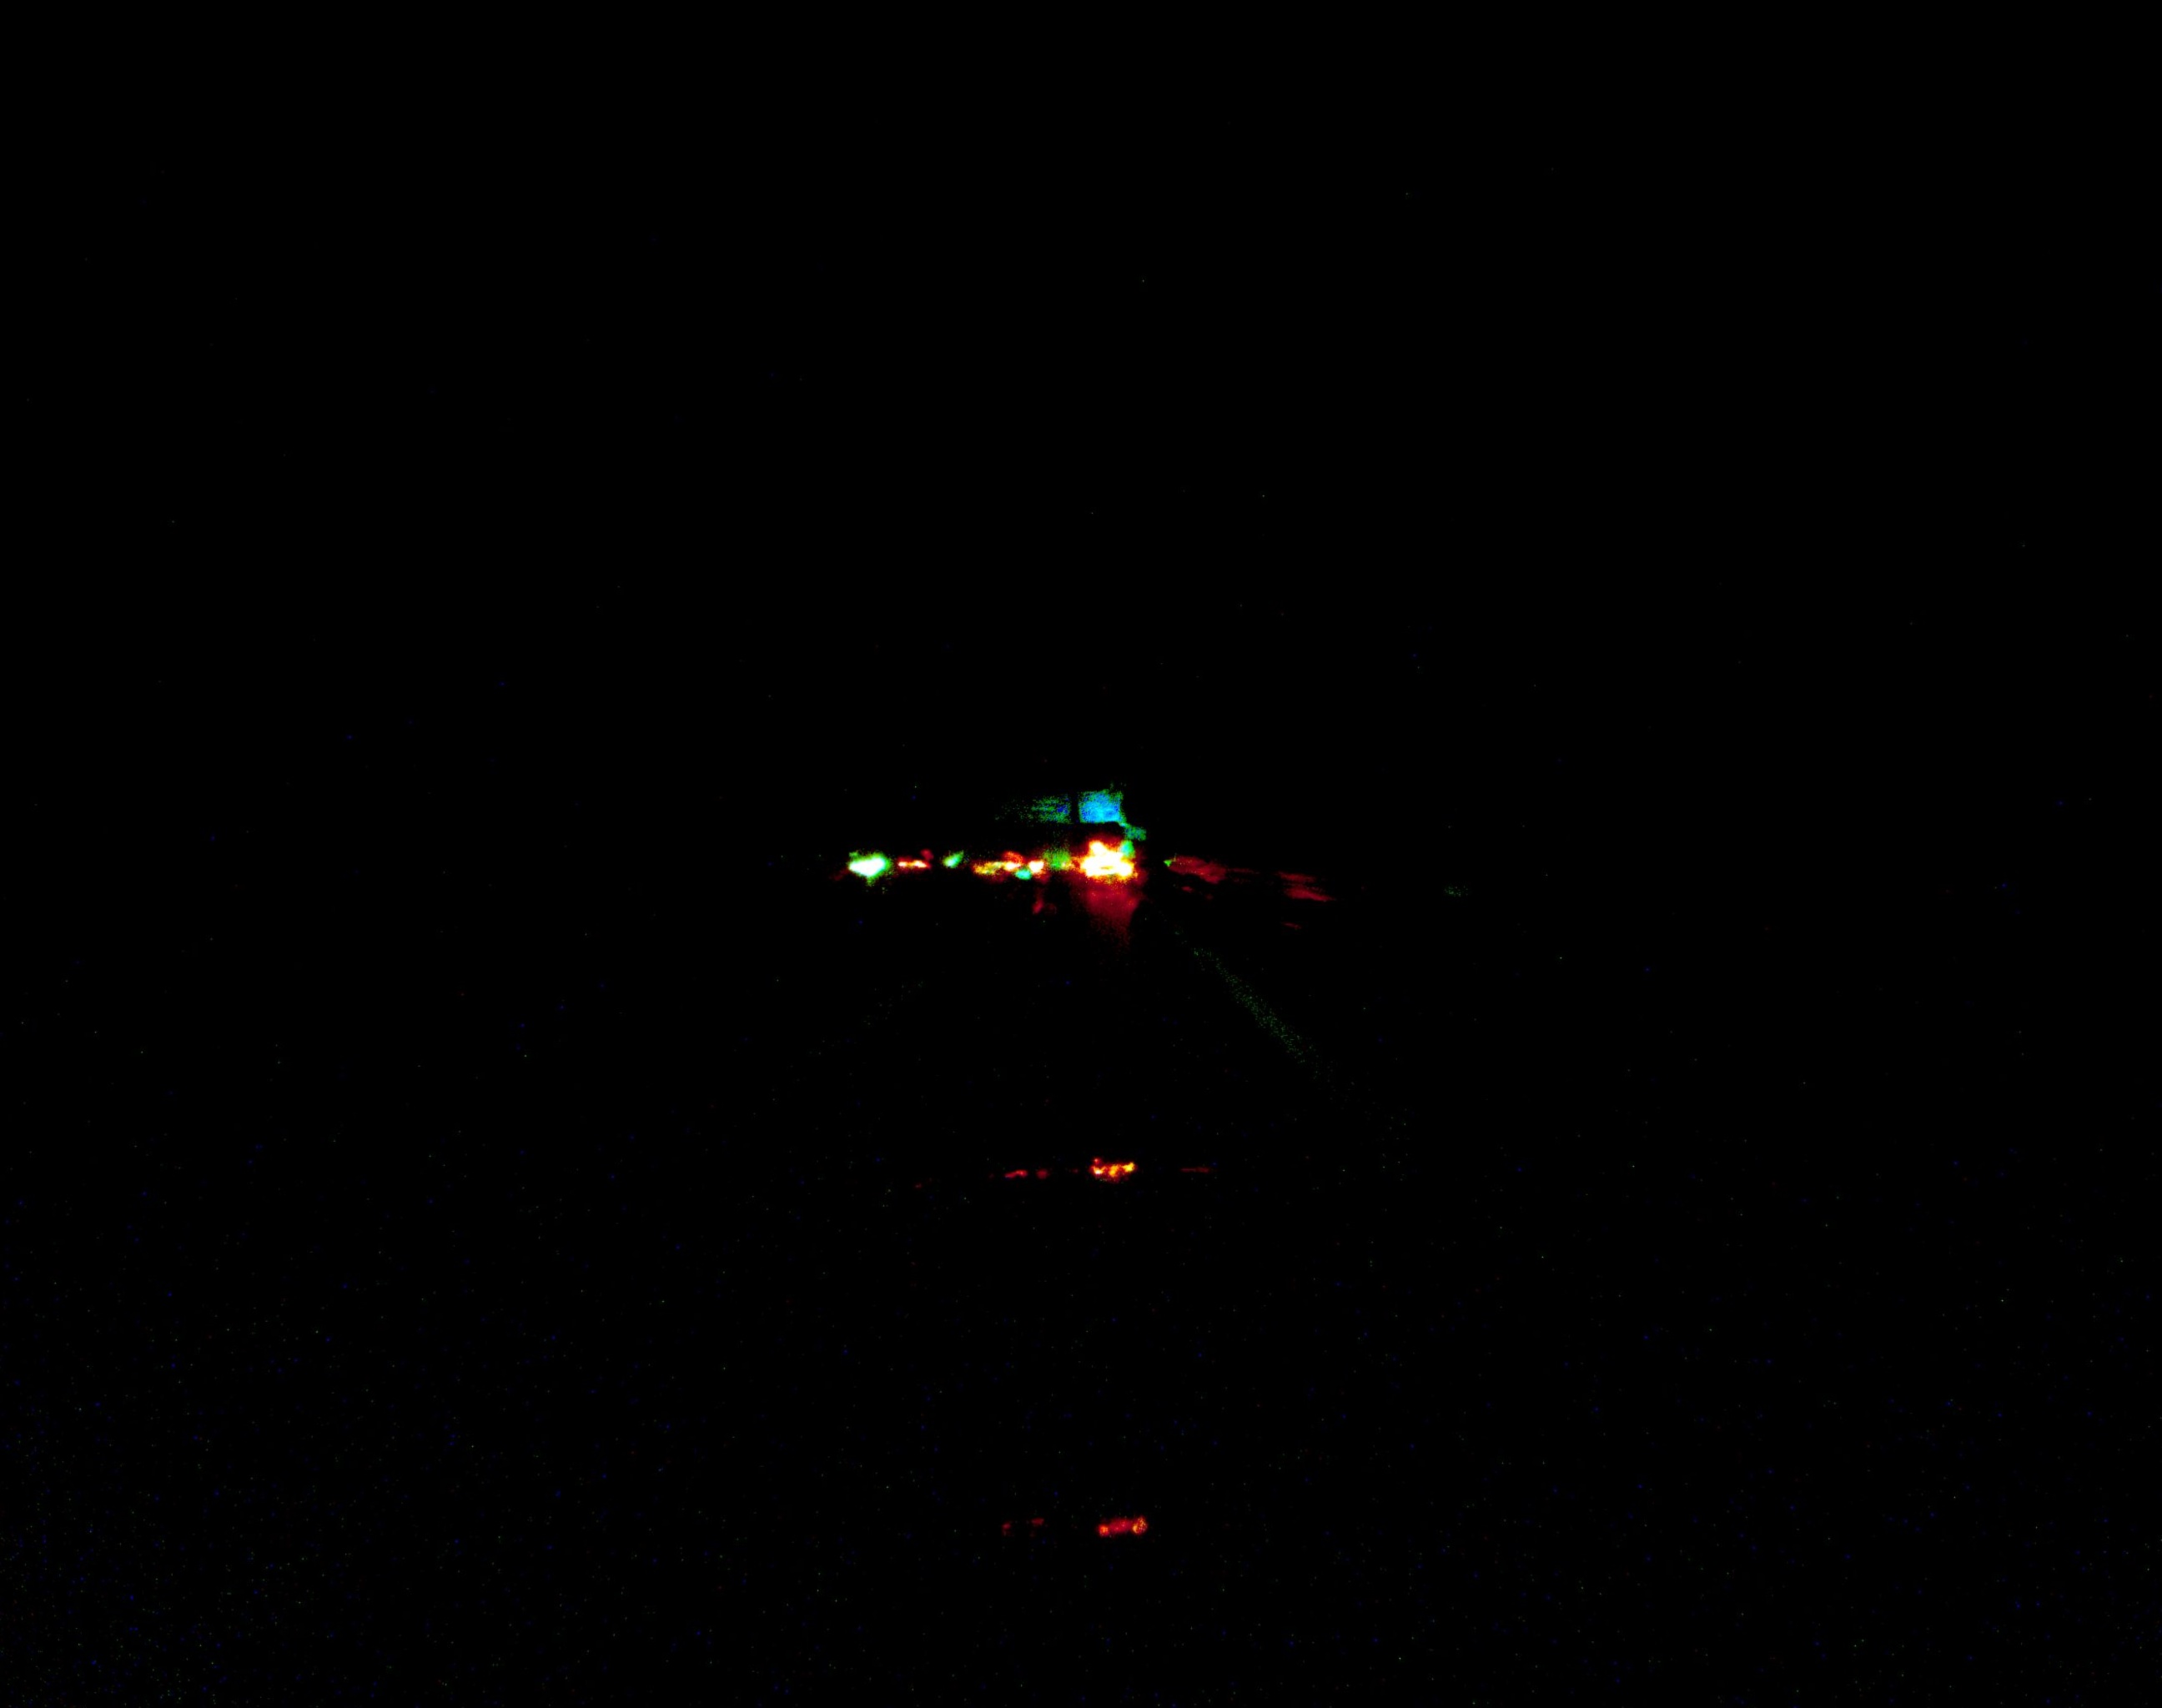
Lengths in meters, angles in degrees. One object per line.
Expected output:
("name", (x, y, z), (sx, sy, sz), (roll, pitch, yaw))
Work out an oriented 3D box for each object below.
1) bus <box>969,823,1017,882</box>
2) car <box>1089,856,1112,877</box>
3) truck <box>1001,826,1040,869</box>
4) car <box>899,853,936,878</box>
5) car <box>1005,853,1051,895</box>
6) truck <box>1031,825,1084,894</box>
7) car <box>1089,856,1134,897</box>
("bus", (-7.162, -0.062, 67.692), (3.089, 4.508, 10.904), (0, -1, -2))
("car", (1.904, 1.210, 81.602), (2.120, 2.014, 4.643), (0, -1, -1))
("truck", (-8.175, -0.823, 111.746), (4.196, 5.648, 11.468), (0, -1, 1))
("car", (-10.884, 0.756, 54.497), (1.990, 1.596, 3.993), (0, -1, -5))
("car", (-2.666, 0.993, 41.957), (2.120, 2.014, 4.643), (0, -1, -1))
("truck", (-1.872, 0.465, 72.687), (4.196, 5.648, 11.468), (0, -1, 1))
("car", (1.409, 1.022, 38.351), (1.986, 1.807, 4.001), (0, -1, 1))
